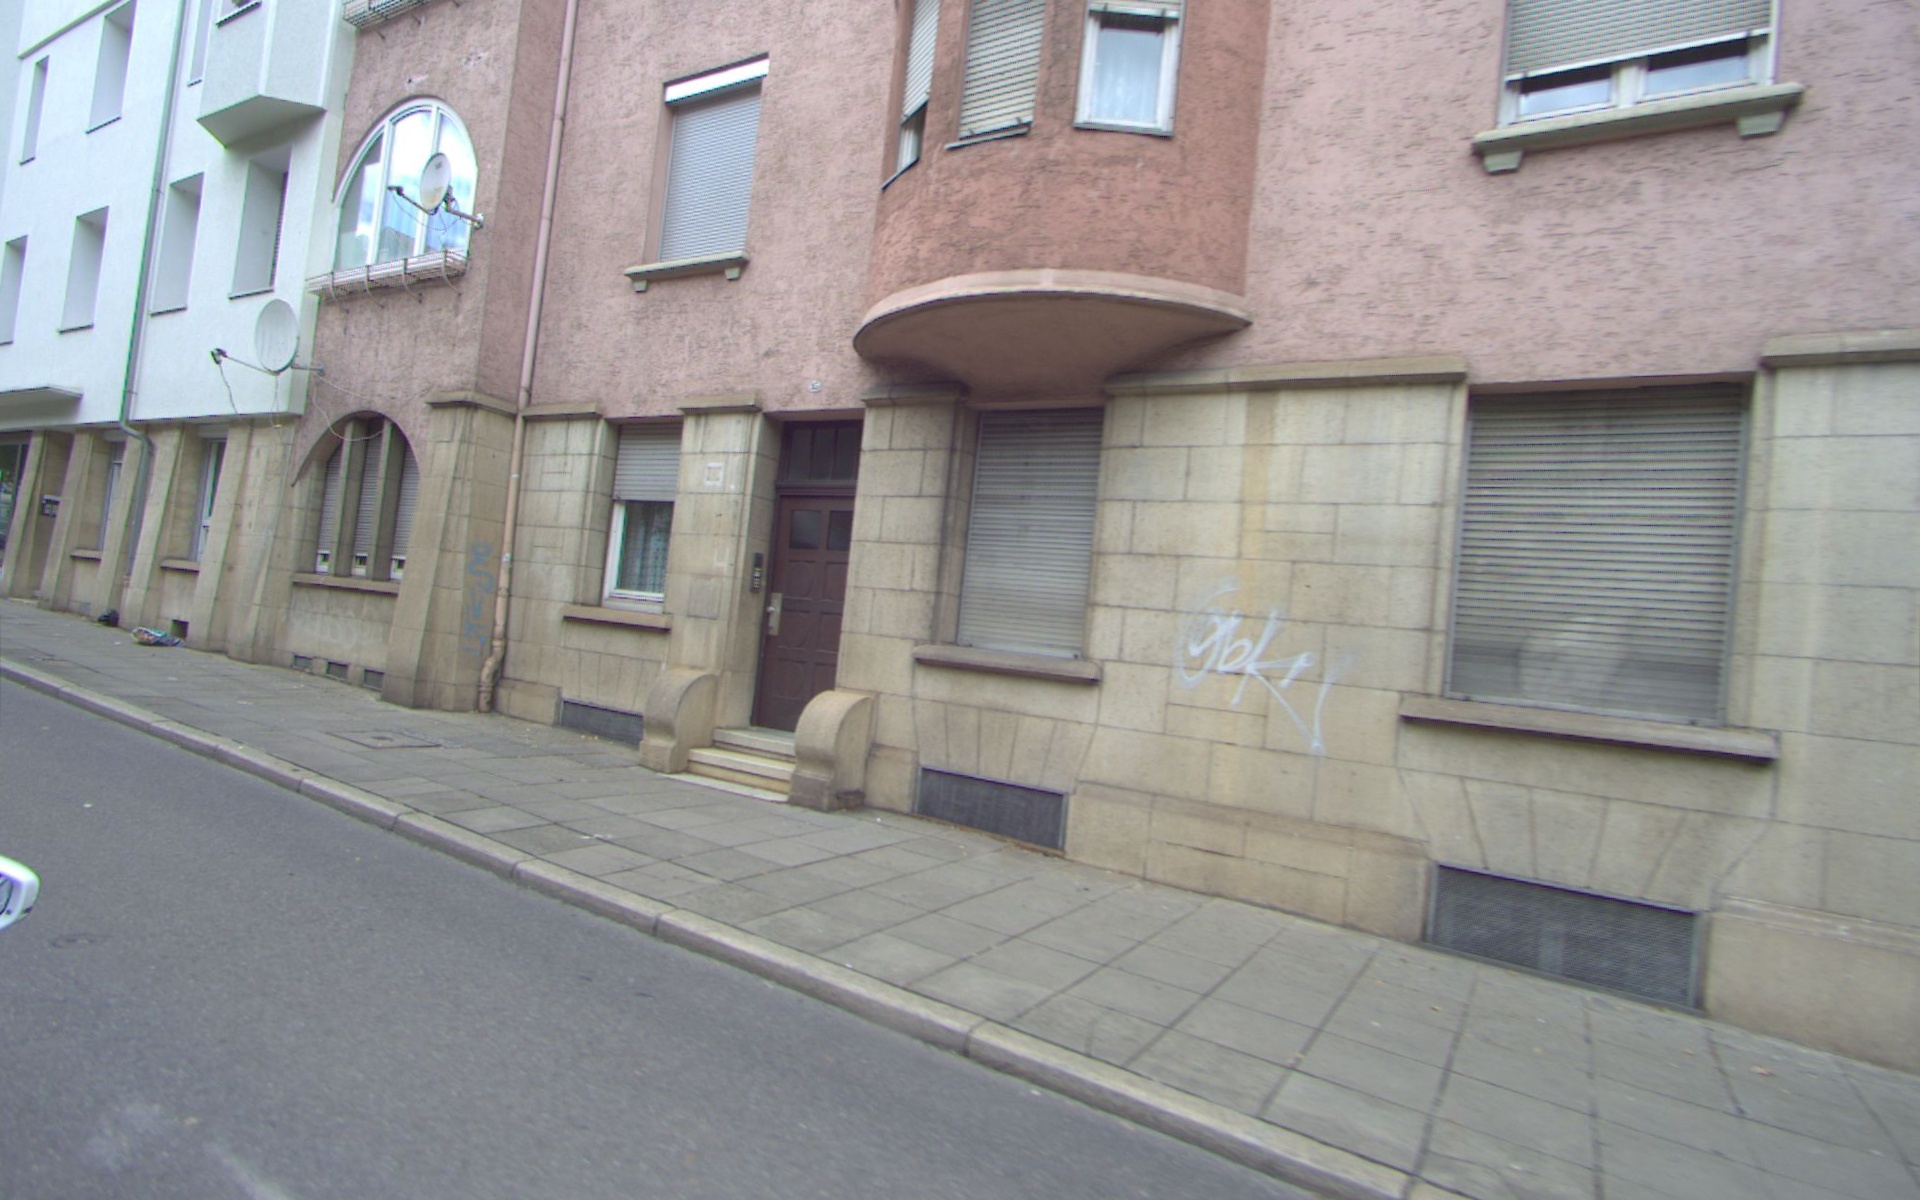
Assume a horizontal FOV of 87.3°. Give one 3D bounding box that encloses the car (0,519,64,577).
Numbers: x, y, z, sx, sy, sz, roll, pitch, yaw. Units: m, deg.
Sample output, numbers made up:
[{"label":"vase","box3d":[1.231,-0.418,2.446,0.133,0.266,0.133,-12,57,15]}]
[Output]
[{"label":"car","box3d":[-26.401,-1.543,26.269,1.962,1.392,4.004,7,-1,11]}]
